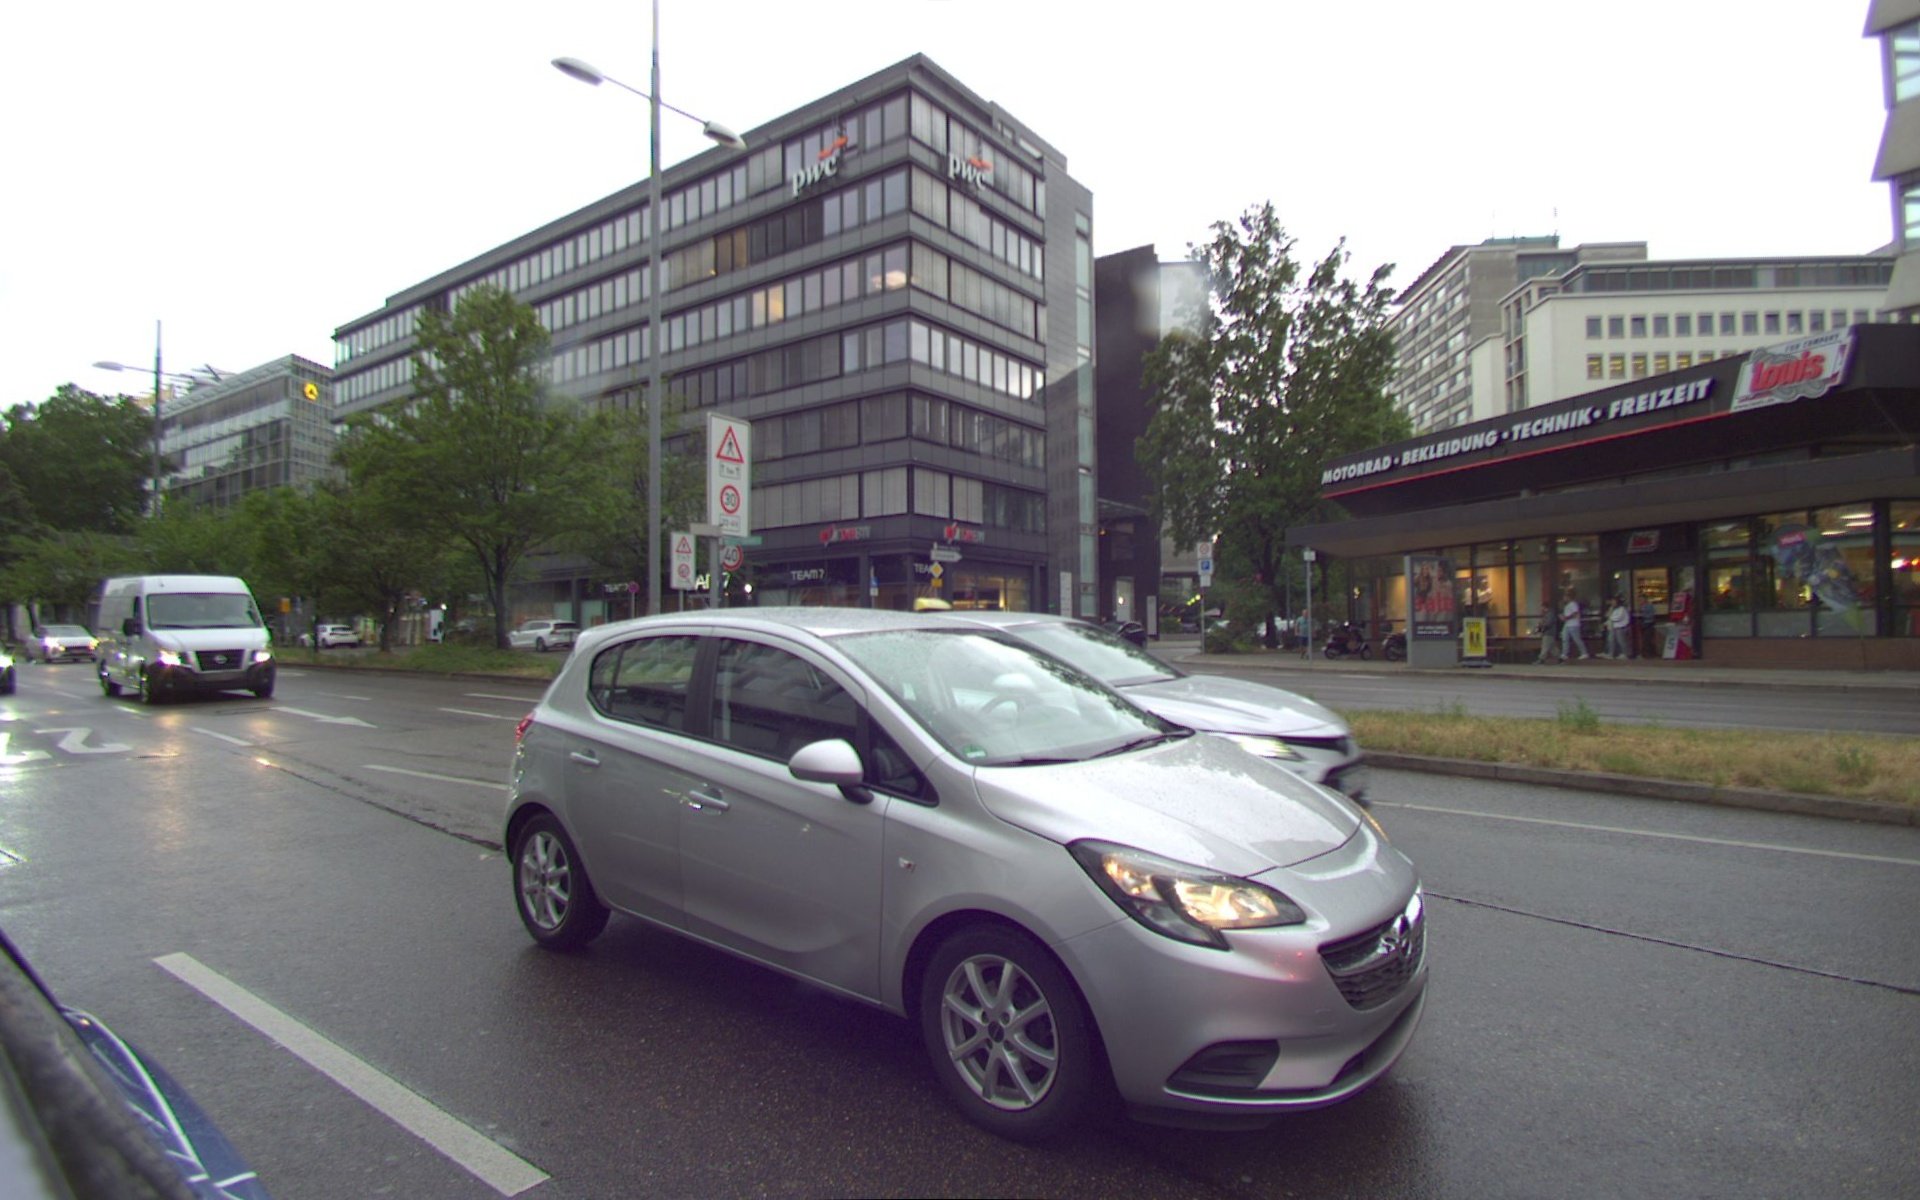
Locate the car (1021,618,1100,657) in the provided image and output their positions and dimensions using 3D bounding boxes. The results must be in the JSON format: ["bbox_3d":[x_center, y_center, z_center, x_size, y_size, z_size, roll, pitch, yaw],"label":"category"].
[{"bbox_3d":[4.540,1.660,45.471,1.847,1.596,3.716,-2,-1,37],"label":"car"}]

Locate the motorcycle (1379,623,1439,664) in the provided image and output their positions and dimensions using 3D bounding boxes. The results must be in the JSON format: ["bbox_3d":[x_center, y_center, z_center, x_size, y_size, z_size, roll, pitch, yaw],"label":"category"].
[{"bbox_3d":[13.835,1.345,31.226,1.646,1.242,0.360,-1,-1,2],"label":"motorcycle"}]

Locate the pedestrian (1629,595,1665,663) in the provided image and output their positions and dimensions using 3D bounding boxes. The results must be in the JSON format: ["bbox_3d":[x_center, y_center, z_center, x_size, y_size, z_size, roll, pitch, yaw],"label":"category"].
[{"bbox_3d":[17.834,0.747,26.272,0.532,1.757,0.560,0,-1,-29],"label":"pedestrian"}]

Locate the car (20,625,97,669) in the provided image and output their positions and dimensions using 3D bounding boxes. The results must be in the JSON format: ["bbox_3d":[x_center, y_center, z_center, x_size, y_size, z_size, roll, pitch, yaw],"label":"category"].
[{"bbox_3d":[-35.511,1.809,39.846,3.492,1.630,1.744,-2,-1,39],"label":"car"}]

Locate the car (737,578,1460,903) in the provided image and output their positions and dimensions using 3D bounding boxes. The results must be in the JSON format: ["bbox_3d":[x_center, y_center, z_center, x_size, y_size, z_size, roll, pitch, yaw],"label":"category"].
[{"bbox_3d":[0.660,0.716,7.080,4.774,1.545,1.846,-2,-1,41],"label":"car"}]

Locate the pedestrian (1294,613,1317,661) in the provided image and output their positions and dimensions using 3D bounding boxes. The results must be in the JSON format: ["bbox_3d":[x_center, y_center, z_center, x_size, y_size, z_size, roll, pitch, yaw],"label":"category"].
[{"bbox_3d":[12.091,1.300,35.430,0.728,1.661,0.695,-1,-1,21],"label":"pedestrian"}]

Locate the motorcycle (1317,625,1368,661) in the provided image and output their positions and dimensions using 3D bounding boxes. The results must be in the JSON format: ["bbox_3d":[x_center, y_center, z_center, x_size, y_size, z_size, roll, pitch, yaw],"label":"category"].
[{"bbox_3d":[12.966,1.456,34.279,1.600,1.153,0.360,-1,-1,-8],"label":"motorcycle"}]

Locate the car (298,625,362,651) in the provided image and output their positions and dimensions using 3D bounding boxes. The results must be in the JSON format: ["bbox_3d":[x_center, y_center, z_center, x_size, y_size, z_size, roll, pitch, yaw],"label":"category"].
[{"bbox_3d":[-37.944,2.290,60.909,3.992,1.518,1.975,-2,-1,36],"label":"car"}]

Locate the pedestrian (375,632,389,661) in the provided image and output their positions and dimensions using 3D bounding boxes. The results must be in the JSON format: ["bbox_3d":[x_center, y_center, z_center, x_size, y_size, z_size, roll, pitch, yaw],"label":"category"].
[{"bbox_3d":[-41.056,3.311,71.872,0.500,2.029,0.681,-2,-1,38],"label":"pedestrian"}]

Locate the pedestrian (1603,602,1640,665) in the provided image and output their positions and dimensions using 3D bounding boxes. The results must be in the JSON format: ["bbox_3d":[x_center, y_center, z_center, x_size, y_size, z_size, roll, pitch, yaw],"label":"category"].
[{"bbox_3d":[16.910,0.846,25.867,0.532,1.582,0.560,0,-1,-29],"label":"pedestrian"}]

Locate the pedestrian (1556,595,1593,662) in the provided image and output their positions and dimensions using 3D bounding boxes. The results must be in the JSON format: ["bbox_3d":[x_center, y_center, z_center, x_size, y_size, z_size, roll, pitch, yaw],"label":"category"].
[{"bbox_3d":[16.456,0.764,27.106,0.605,1.757,0.560,0,-1,-29],"label":"pedestrian"}]

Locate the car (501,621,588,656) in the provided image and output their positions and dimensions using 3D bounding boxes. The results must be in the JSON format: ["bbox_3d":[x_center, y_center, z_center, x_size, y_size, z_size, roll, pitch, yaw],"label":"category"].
[{"bbox_3d":[-19.409,1.786,47.248,3.992,1.518,1.975,-2,-1,36],"label":"car"}]

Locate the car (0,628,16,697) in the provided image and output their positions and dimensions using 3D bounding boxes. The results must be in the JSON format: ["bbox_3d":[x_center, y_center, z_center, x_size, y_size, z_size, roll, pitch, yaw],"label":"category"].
[{"bbox_3d":[-22.380,1.382,22.209,4.087,1.446,1.755,-2,-1,37],"label":"car"}]

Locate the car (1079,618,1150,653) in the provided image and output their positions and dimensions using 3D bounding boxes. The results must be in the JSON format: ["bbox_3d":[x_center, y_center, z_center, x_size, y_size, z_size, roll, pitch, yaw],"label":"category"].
[{"bbox_3d":[7.575,1.716,49.467,1.847,1.596,3.716,-2,-1,37],"label":"car"}]

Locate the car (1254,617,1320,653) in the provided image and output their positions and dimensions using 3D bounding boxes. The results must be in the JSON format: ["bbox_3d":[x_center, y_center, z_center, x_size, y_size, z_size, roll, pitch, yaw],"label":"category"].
[{"bbox_3d":[15.565,1.626,48.039,1.847,1.596,3.716,-2,-1,37],"label":"car"}]

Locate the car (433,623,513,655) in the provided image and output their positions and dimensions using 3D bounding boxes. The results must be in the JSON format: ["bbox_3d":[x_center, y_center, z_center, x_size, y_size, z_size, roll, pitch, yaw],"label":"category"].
[{"bbox_3d":[-24.598,1.969,51.099,4.100,1.518,1.975,-2,-1,36],"label":"car"}]

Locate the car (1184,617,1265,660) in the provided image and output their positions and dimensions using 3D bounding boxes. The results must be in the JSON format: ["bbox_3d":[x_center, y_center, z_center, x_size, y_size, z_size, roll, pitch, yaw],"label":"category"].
[{"bbox_3d":[10.669,1.505,40.638,1.847,1.596,3.716,-2,-1,37],"label":"car"}]

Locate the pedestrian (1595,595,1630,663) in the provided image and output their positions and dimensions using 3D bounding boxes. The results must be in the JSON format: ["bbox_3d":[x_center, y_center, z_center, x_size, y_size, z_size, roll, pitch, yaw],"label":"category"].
[{"bbox_3d":[17.179,0.755,26.644,0.532,1.757,0.560,0,-1,-29],"label":"pedestrian"}]

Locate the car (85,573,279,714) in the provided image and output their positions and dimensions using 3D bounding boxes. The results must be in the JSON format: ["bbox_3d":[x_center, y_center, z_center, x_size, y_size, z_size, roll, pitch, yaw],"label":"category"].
[{"bbox_3d":[-15.627,0.817,20.200,5.475,2.459,1.927,-2,-1,40],"label":"car"}]

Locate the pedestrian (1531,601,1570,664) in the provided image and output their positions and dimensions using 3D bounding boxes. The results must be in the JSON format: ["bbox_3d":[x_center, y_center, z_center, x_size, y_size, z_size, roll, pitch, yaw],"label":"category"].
[{"bbox_3d":[15.477,0.844,26.525,0.605,1.623,0.614,0,-1,-29],"label":"pedestrian"}]

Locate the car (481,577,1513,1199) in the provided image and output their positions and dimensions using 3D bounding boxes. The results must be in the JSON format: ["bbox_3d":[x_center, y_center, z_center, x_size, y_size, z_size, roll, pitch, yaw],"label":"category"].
[{"bbox_3d":[-0.172,0.717,3.986,3.872,1.446,1.631,-2,-1,40],"label":"car"}]
